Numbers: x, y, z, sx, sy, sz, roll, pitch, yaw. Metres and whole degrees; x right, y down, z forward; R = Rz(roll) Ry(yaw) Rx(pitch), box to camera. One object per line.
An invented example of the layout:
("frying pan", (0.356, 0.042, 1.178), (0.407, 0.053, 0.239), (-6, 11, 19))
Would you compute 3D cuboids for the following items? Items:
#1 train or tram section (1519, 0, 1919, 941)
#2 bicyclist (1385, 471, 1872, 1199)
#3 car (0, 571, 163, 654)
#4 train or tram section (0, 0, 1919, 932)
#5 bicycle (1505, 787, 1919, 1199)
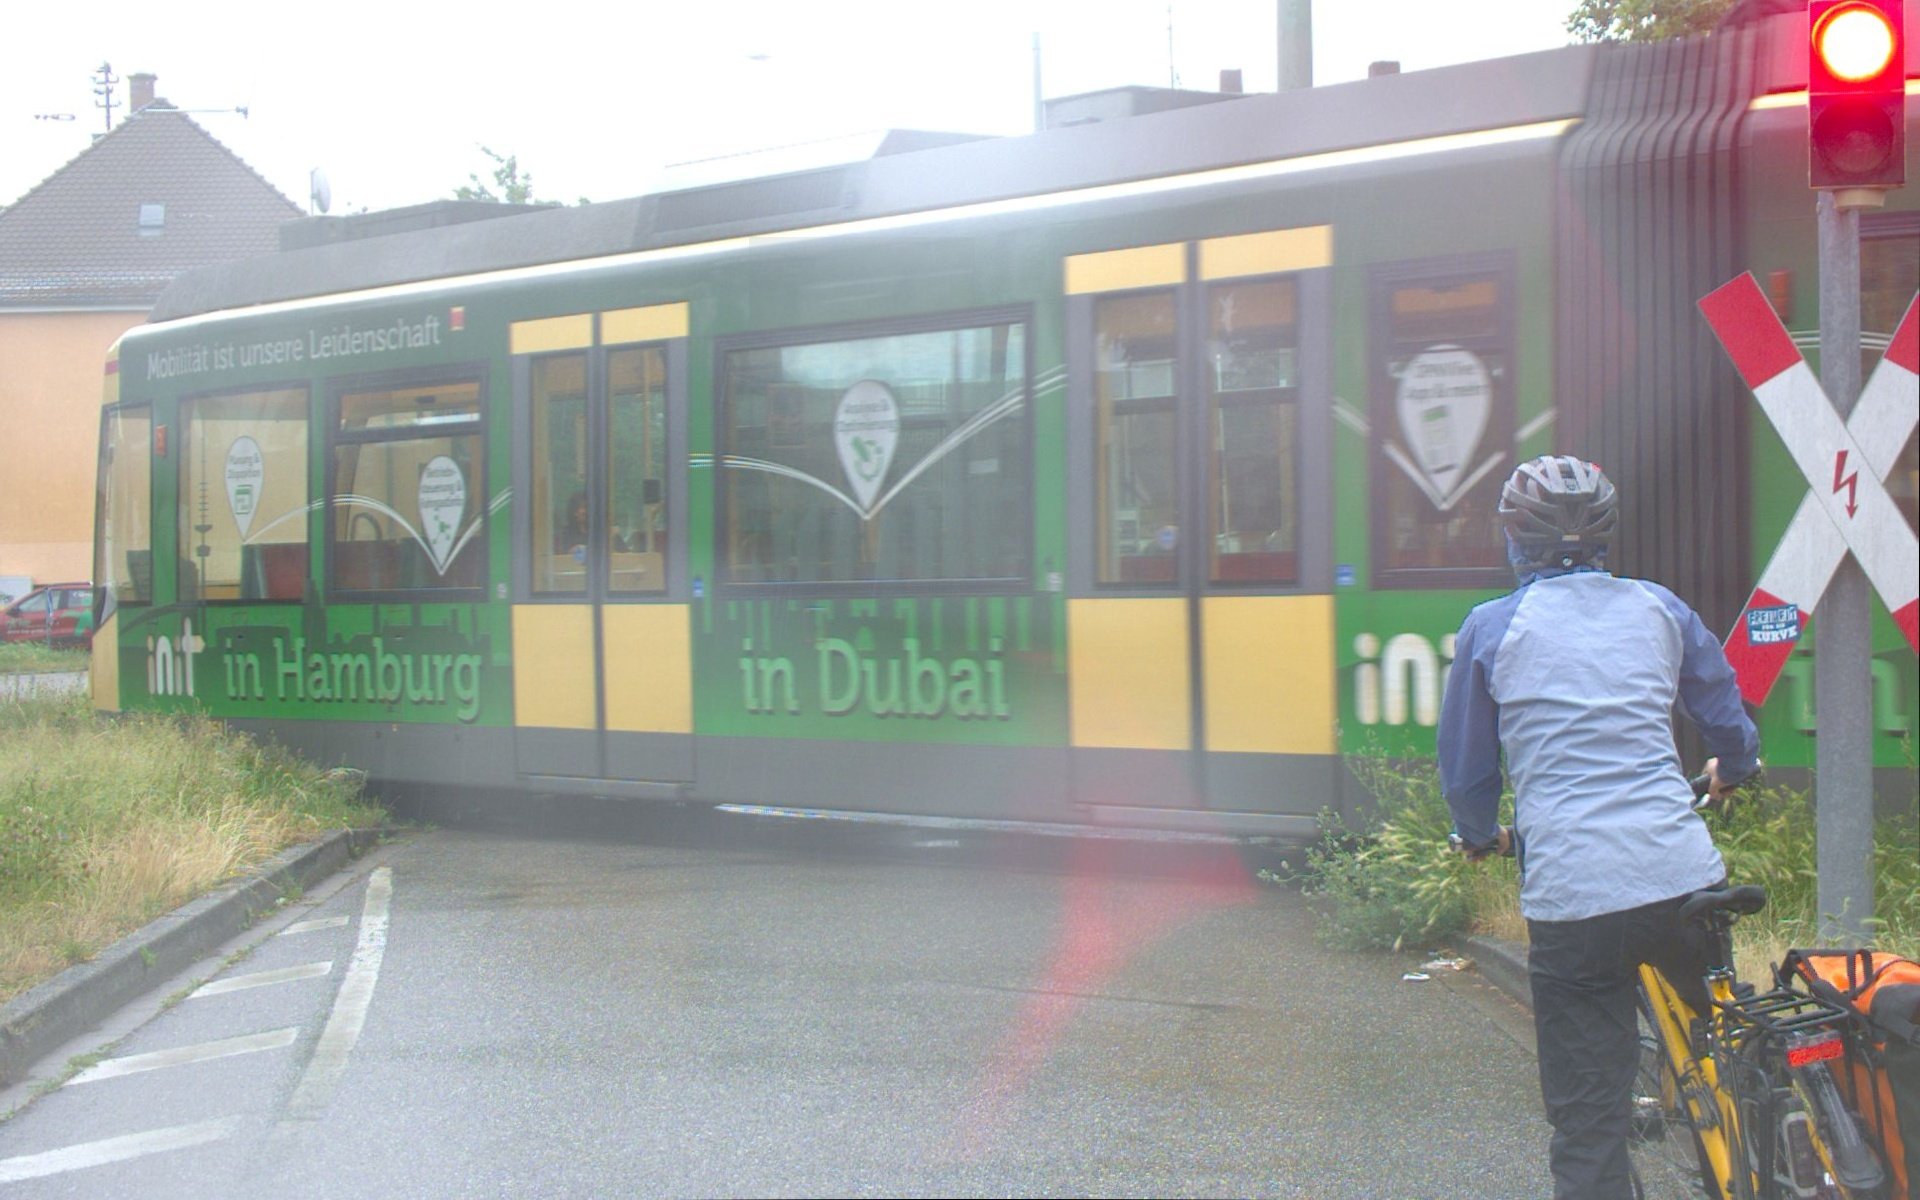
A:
("train or tram section", (4.897, -0.652, 12.270), (4.981, 3.541, 2.764), (-1, 1, 33))
("bicyclist", (1.167, 0.597, 6.165), (0.667, 1.620, 0.853), (1, 0, -2))
("car", (-16.666, 0.215, 62.595), (3.986, 1.451, 1.834), (1, 0, -6))
("train or tram section", (-0.897, -0.598, 18.082), (2.762, 3.541, 13.126), (-2, 1, -41))
("bicycle", (1.350, 0.901, 6.069), (0.446, 1.001, 1.728), (-1, 1, -2))
